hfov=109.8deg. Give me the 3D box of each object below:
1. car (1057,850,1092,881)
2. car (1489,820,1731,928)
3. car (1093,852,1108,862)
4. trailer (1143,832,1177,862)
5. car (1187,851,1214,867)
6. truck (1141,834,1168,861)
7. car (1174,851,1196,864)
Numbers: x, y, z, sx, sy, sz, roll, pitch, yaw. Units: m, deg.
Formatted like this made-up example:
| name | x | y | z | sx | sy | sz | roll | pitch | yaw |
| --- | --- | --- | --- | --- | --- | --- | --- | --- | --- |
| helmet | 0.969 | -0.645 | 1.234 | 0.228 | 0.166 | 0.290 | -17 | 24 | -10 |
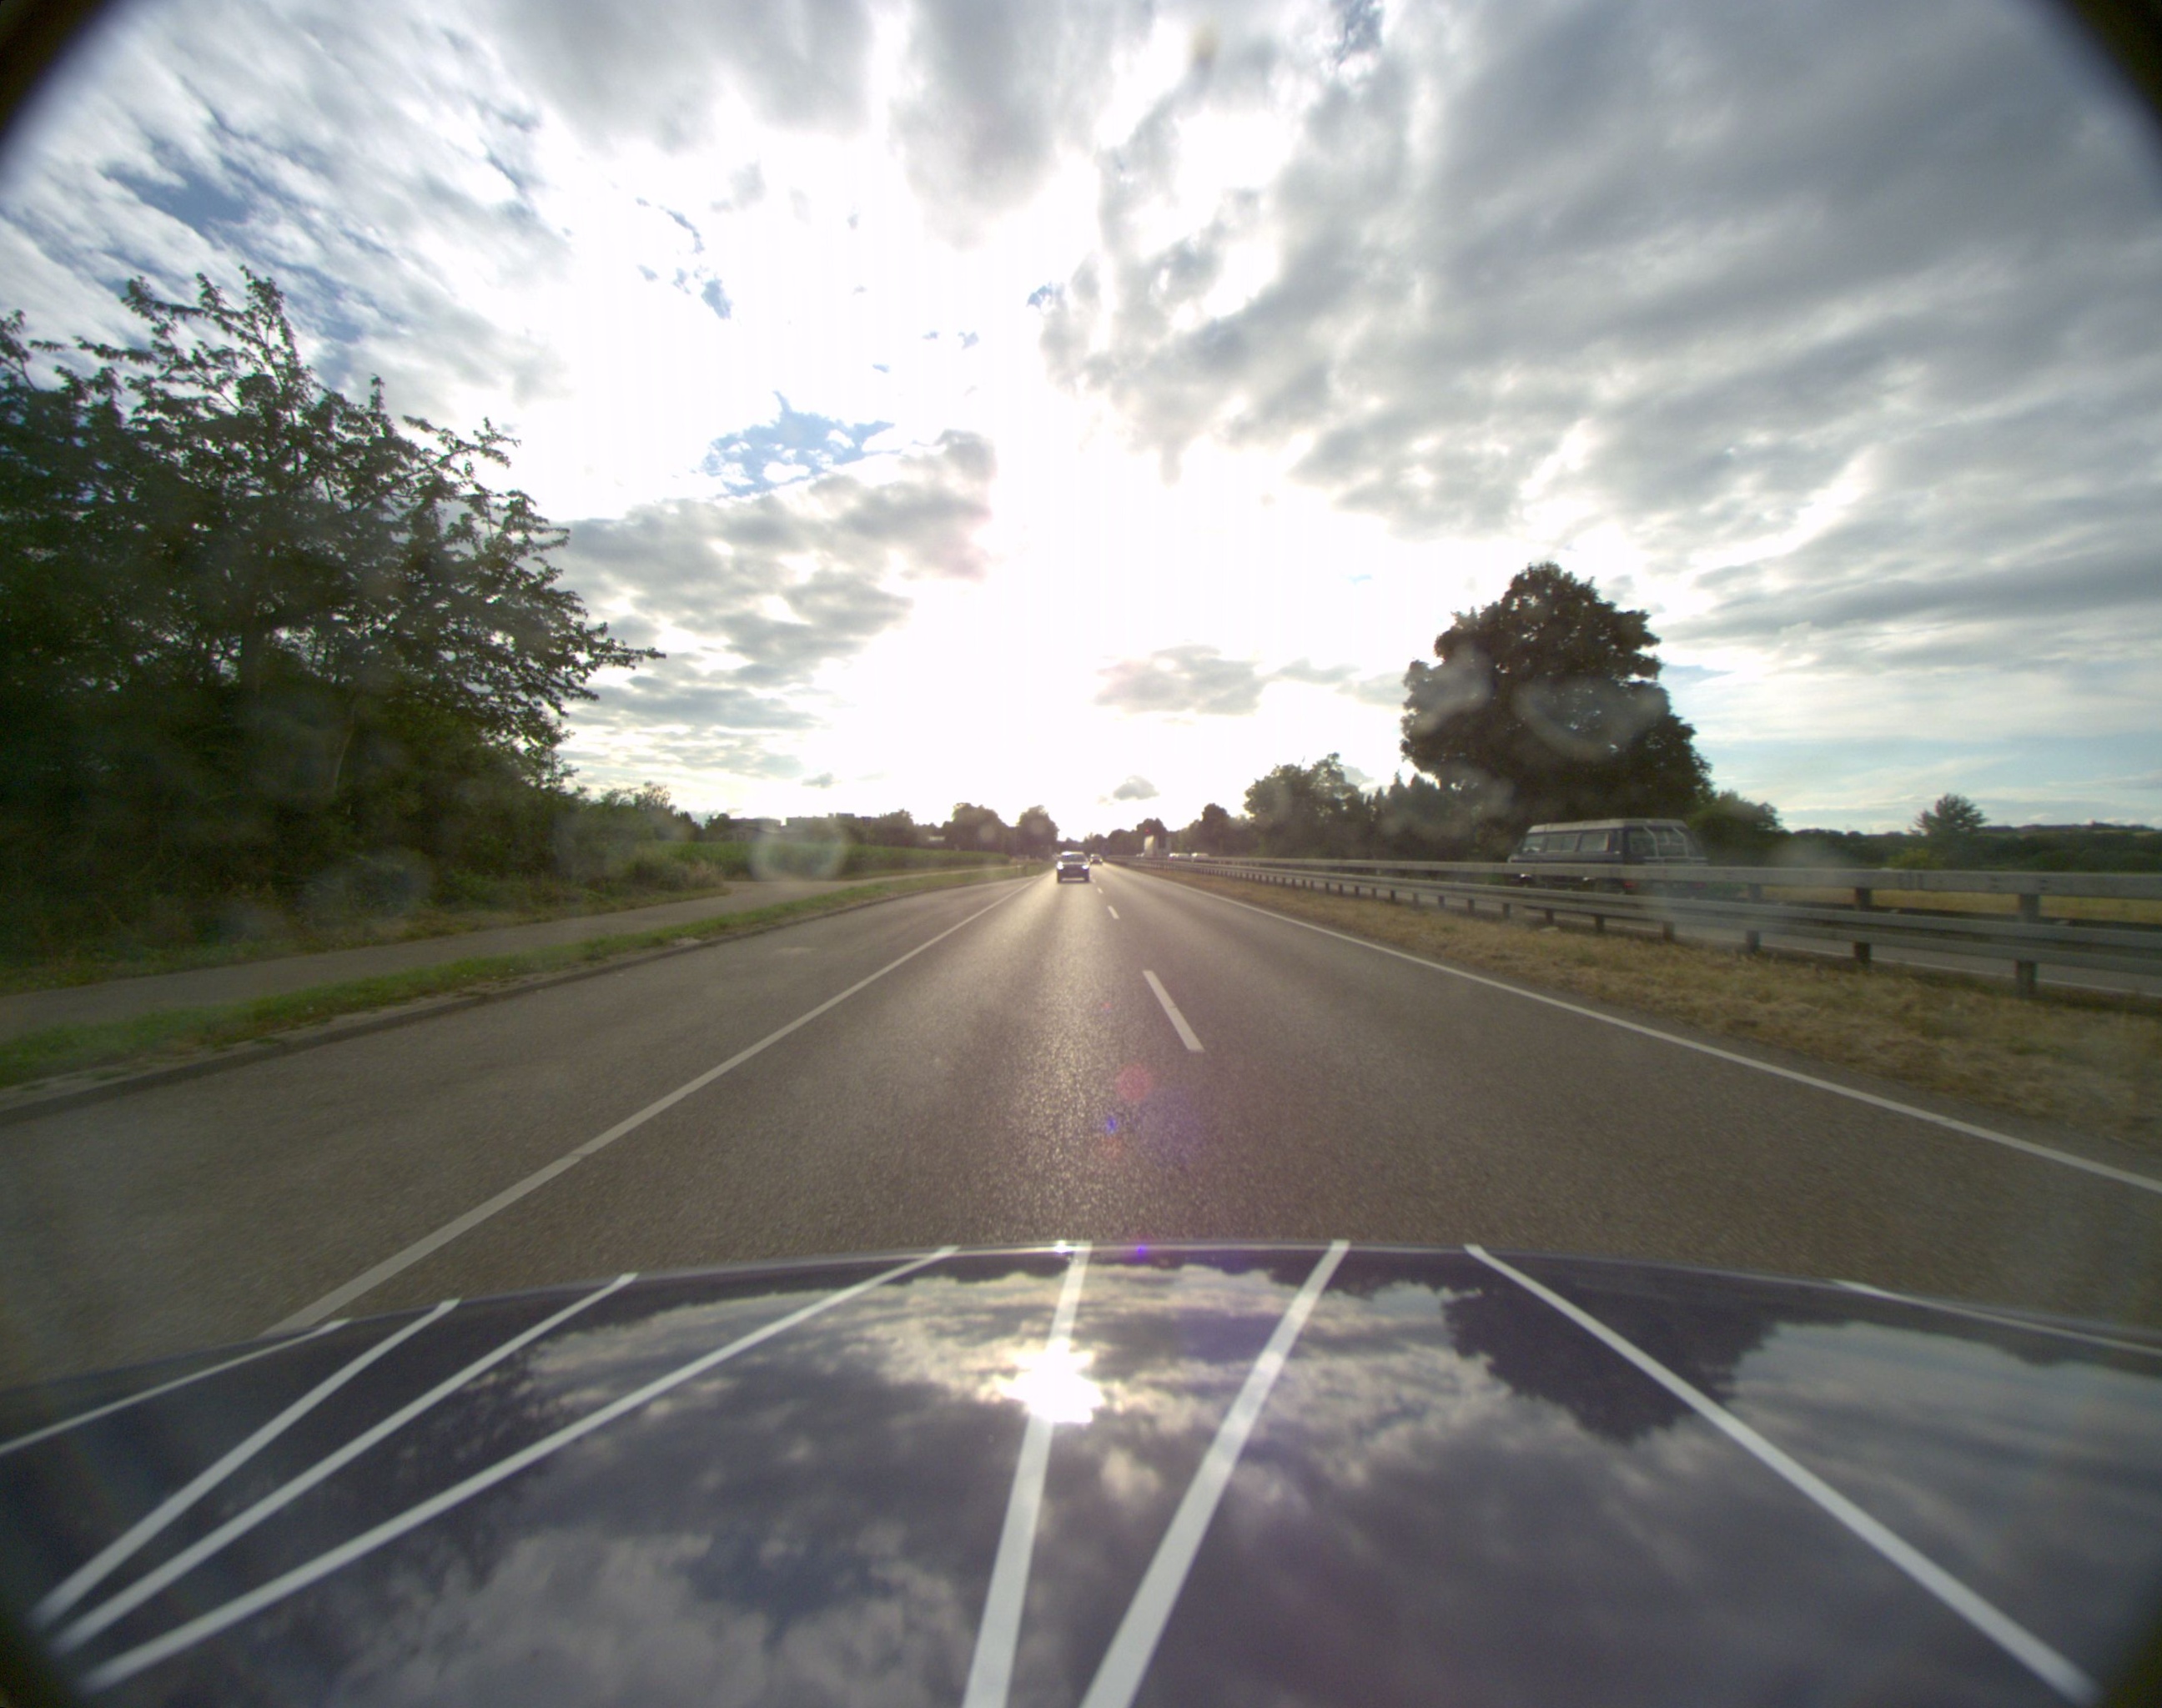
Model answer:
| name | x | y | z | sx | sy | sz | roll | pitch | yaw |
| --- | --- | --- | --- | --- | --- | --- | --- | --- | --- |
| car | -0.401 | 0.653 | 44.284 | 1.849 | 1.640 | 4.480 | -2 | 0 | -1 |
| car | 11.893 | 0.379 | 17.698 | 1.998 | 2.128 | 5.319 | 1 | 0 | 1 |
| car | 2.632 | 0.447 | 104.766 | 1.998 | 1.320 | 4.000 | 1 | 0 | 1 |
| trailer | 11.464 | -0.977 | 111.898 | 3.474 | 4.126 | 13.914 | 1 | 0 | 0 |
| car | 11.609 | 0.469 | 74.070 | 1.871 | 1.469 | 4.935 | 0 | 0 | 0 |
| truck | 11.461 | -0.992 | 118.548 | 3.483 | 4.126 | 6.049 | 1 | 1 | 0 |
| car | 11.962 | 0.365 | 87.498 | 1.871 | 1.469 | 4.825 | 0 | 0 | 0 |
